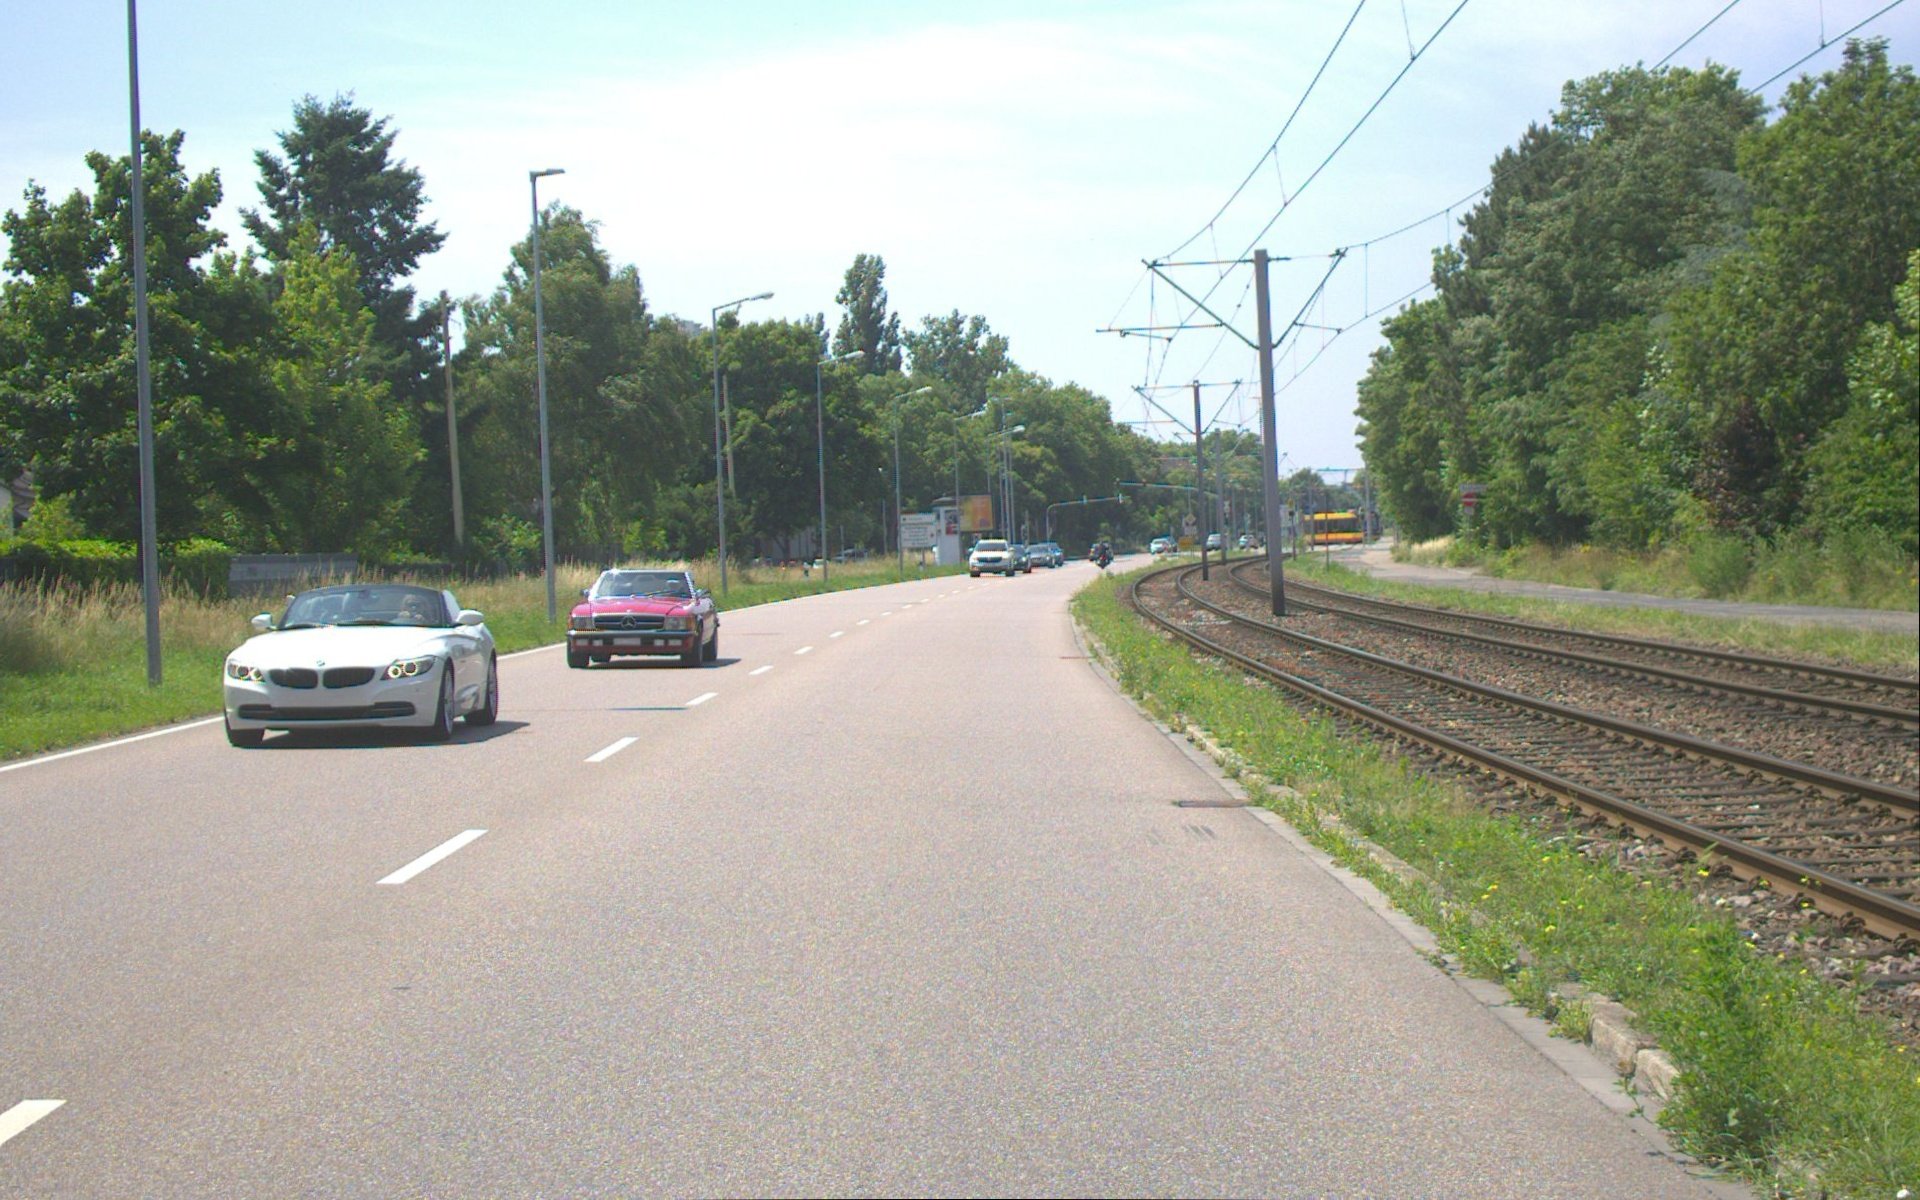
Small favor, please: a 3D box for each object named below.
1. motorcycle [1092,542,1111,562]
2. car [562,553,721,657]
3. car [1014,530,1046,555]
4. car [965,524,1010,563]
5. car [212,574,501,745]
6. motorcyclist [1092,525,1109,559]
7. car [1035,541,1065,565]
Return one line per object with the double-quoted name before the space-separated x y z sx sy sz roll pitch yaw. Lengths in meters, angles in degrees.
"motorcycle" 8.090 -2.765 196.758 0.970 1.113 2.732 -1 1 4
"car" -4.259 0.037 46.504 1.749 1.296 4.253 -1 1 0
"car" 4.217 -3.434 205.675 1.817 1.488 4.363 -1 1 2
"car" 1.337 -2.659 162.732 1.935 1.790 4.711 -1 1 2
"car" -4.891 0.441 28.318 1.682 1.245 3.909 -1 1 0
"motorcyclist" 8.044 -3.307 196.603 0.891 1.898 1.015 -1 1 4
"car" 5.802 -3.049 221.783 1.817 1.488 4.363 -1 1 2
